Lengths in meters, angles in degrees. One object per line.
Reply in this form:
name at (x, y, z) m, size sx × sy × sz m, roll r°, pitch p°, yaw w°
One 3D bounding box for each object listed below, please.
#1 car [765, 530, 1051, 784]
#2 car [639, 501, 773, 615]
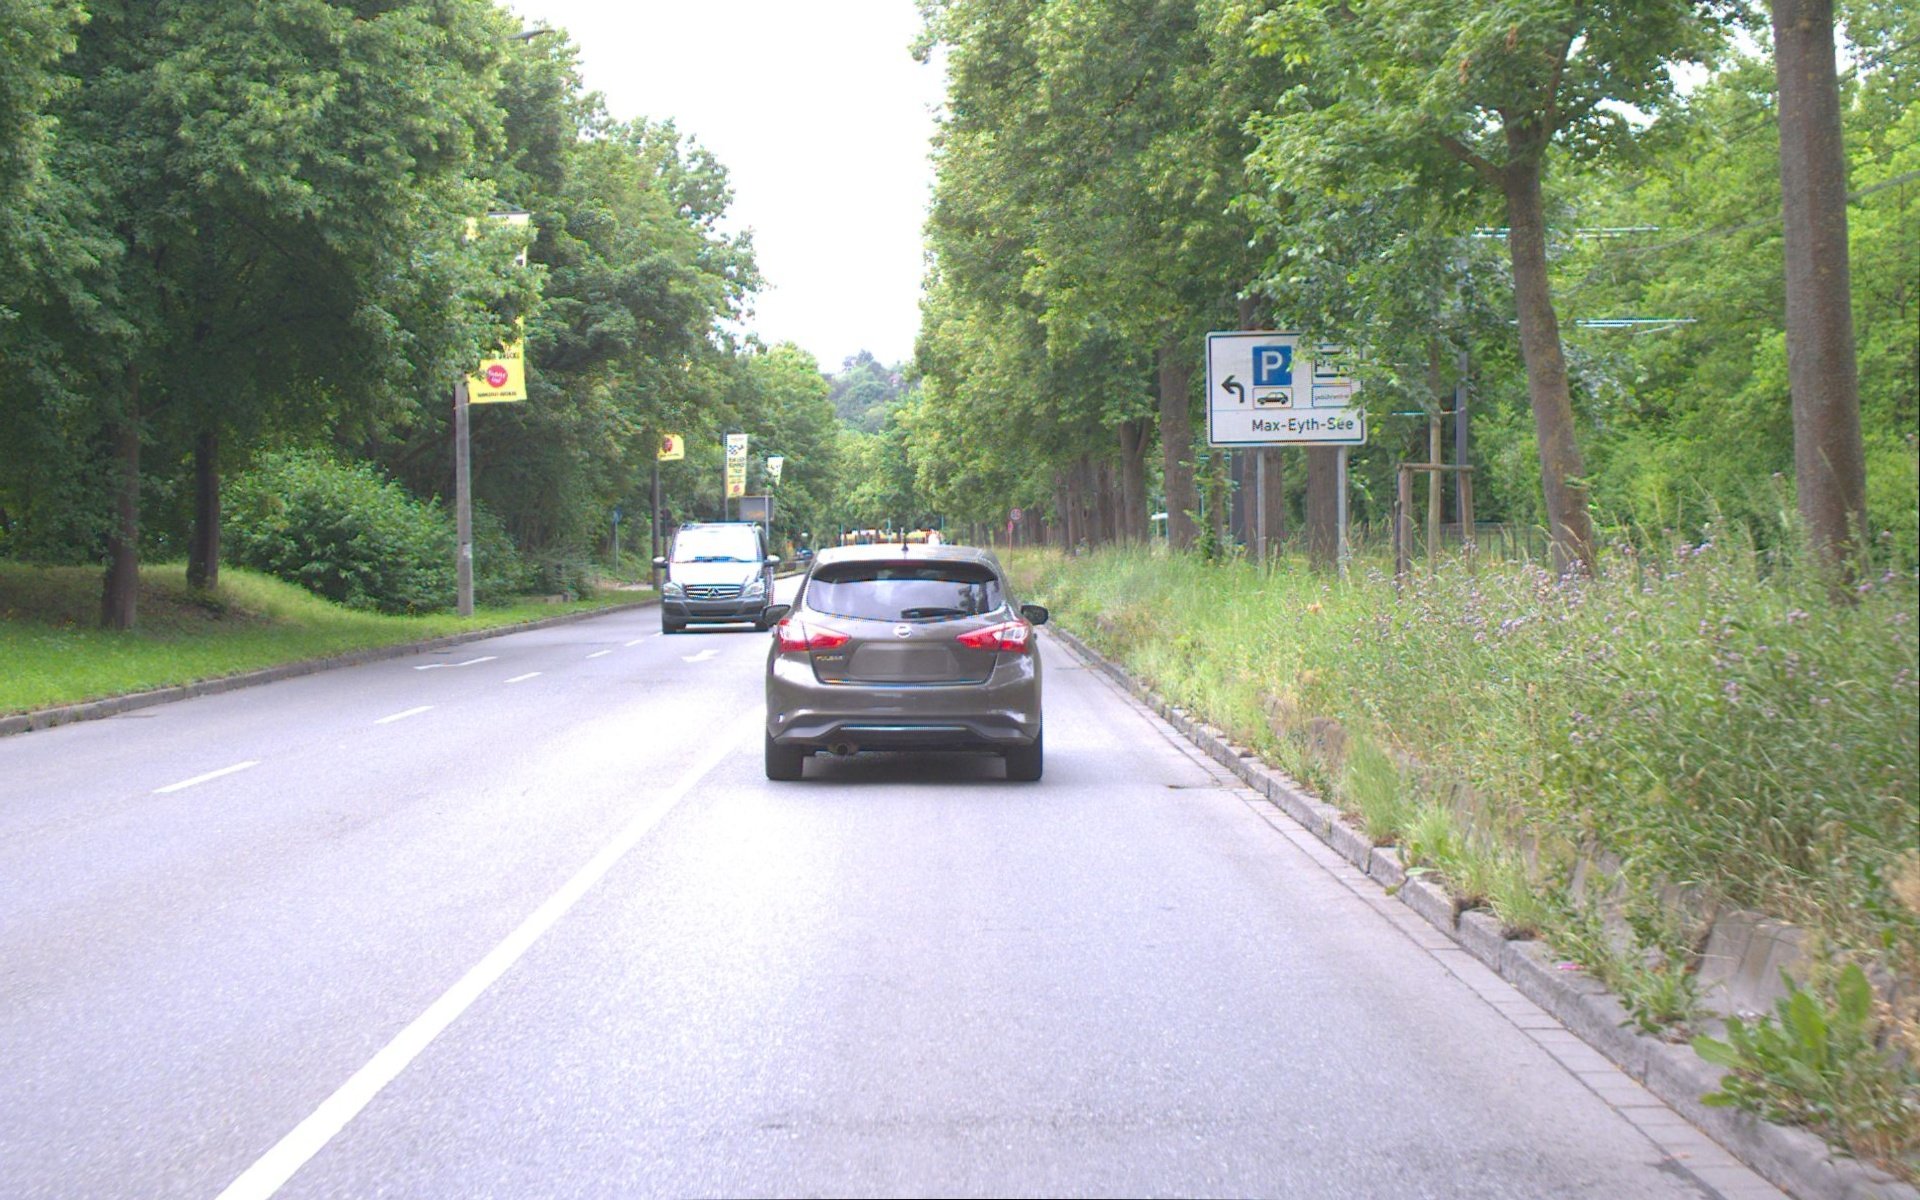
car at (-0.350, 0.324, 22.822) m, size 1.730 × 1.532 × 3.552 m, roll 1°, pitch 1°, yaw -1°
car at (-4.535, -0.755, 62.124) m, size 1.993 × 1.949 × 5.184 m, roll -1°, pitch 1°, yaw 0°
